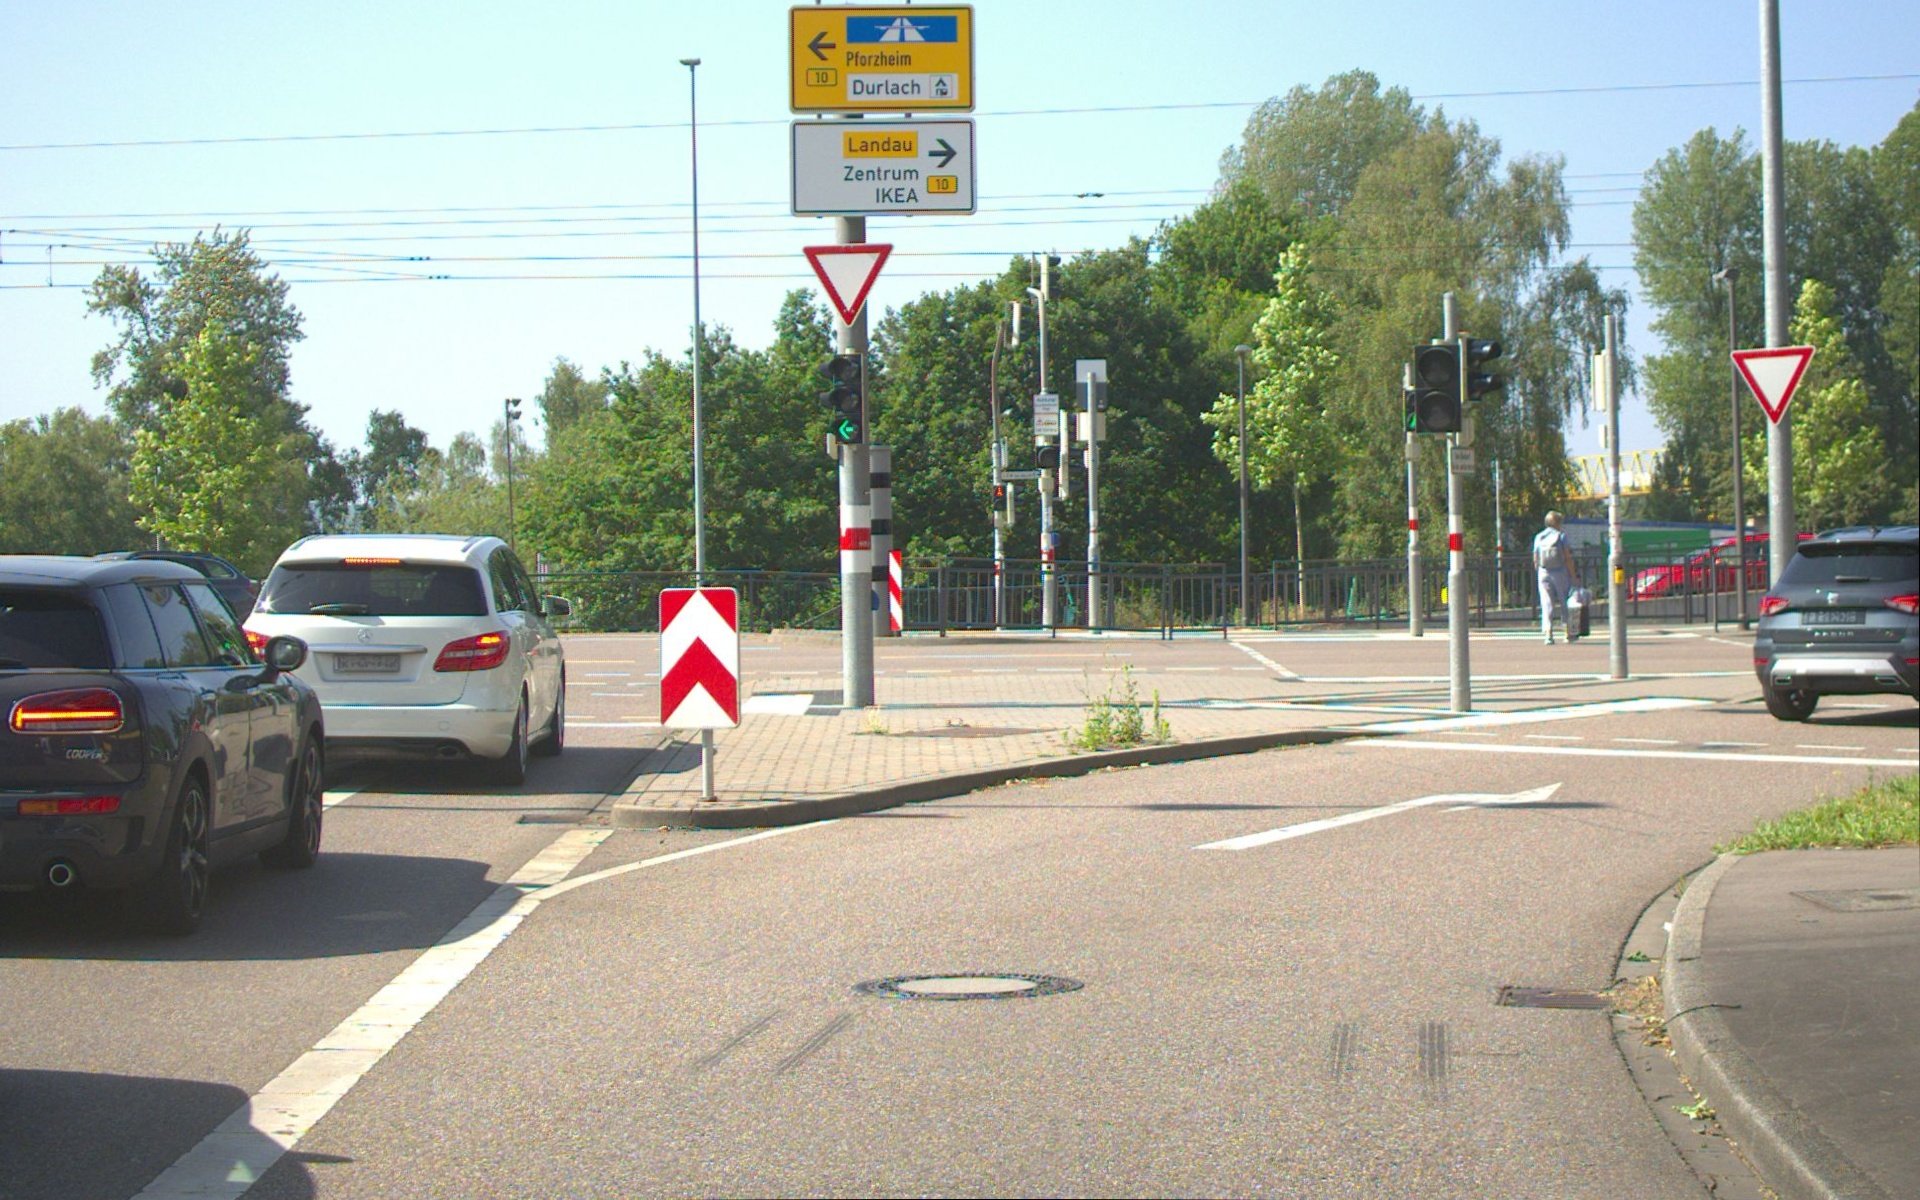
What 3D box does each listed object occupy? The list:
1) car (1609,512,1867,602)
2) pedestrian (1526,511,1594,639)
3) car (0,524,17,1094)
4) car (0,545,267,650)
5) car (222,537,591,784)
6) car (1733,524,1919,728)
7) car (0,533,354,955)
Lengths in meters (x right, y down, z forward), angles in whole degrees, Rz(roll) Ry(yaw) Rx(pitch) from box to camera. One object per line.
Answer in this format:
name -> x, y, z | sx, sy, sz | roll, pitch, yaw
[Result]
car -> 13.352, -0.747, 59.142 | 3.986, 1.440, 1.747 | -1, 1, -3
pedestrian -> 7.322, -0.313, 41.921 | 0.773, 1.505, 1.007 | -1, 2, 11
car -> -3.422, 0.604, 7.517 | 1.706, 1.568, 4.175 | 0, 1, -2
car -> -13.509, -0.068, 53.856 | 4.801, 1.498, 2.065 | -2, 2, -42
car -> -3.502, 0.320, 22.469 | 1.741, 1.443, 4.389 | 0, 1, -1
car -> 7.795, 0.173, 27.396 | 1.674, 1.518, 3.368 | 0, 1, 45
car -> -3.791, 0.501, 14.483 | 1.737, 1.506, 4.201 | -2, 1, -1
